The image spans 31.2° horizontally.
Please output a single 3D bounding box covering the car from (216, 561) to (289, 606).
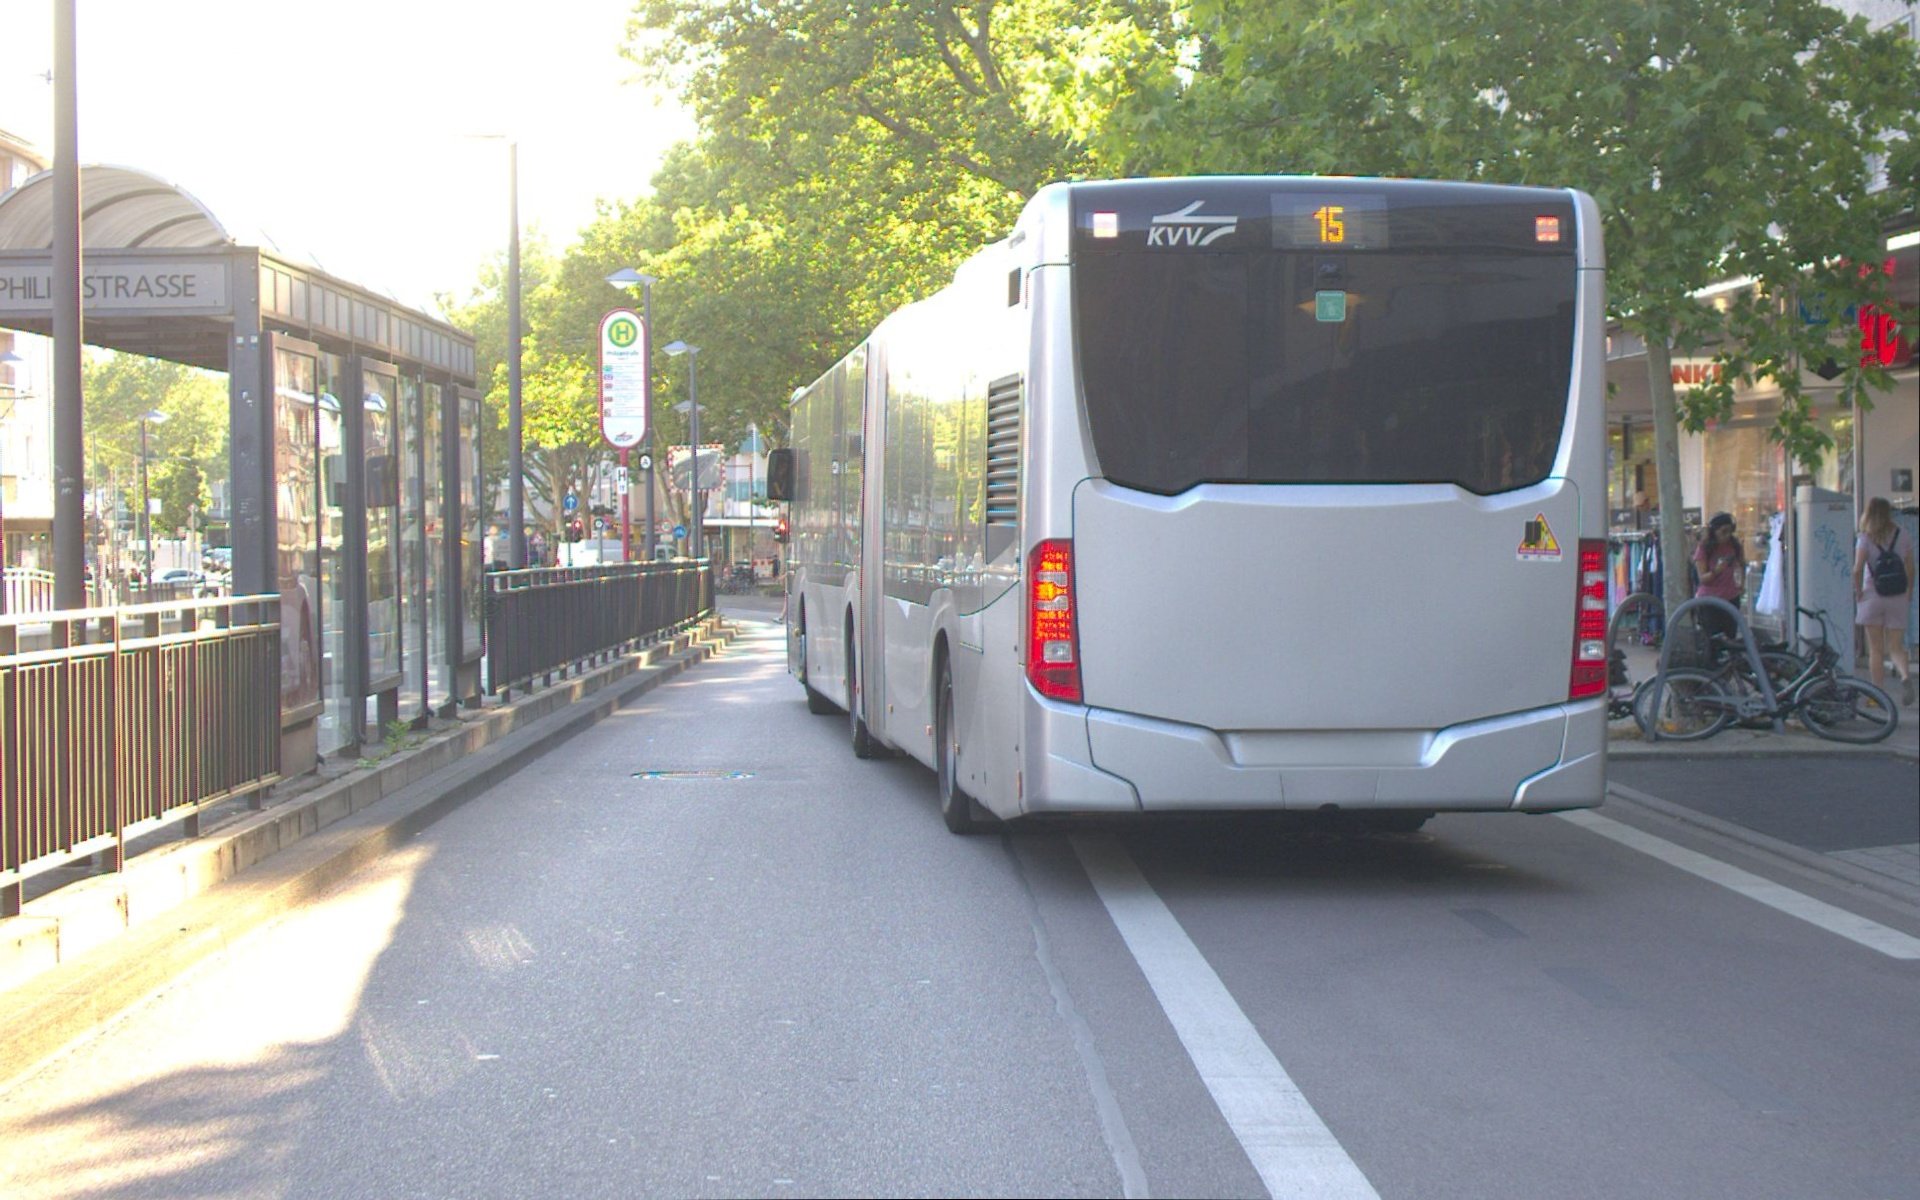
[{"bbox_3d":[-26.817,-0.620,130.353,1.993,1.645,4.000,0,1,-1],"label":"car"}]

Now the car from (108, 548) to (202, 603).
[{"bbox_3d":[-24.582,-0.772,105.080,1.993,1.645,4.000,0,1,-1],"label":"car"}]

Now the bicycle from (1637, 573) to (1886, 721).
[{"bbox_3d":[5.619,0.324,24.072,1.690,0.939,0.653,0,-8,-36],"label":"bicycle"}]

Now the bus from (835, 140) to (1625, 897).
[{"bbox_3d":[0.960,-0.419,18.909,2.696,3.107,9.383,0,1,-6],"label":"bus"}]

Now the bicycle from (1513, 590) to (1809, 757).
[{"bbox_3d":[4.983,0.517,24.436,1.782,0.631,0.935,-5,-33,-32],"label":"bicycle"}]

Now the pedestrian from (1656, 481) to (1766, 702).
[{"bbox_3d":[6.199,-0.075,28.394,0.723,1.789,0.766,0,1,-1],"label":"pedestrian"}]

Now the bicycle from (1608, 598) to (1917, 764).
[{"bbox_3d":[5.326,0.528,22.863,1.782,0.939,0.794,-4,1,-5],"label":"bicycle"}]

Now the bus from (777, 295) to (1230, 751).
[{"bbox_3d":[0.065,-0.614,28.121,2.696,3.107,9.072,0,1,-6],"label":"bus"}]

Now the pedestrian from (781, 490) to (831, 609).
[{"bbox_3d":[-3.318,-1.085,74.051,0.889,2.537,1.163,0,1,6],"label":"pedestrian"}]

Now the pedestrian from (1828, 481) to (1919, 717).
[{"bbox_3d":[7.084,-0.016,26.507,0.564,1.789,0.766,0,1,-1],"label":"pedestrian"}]
